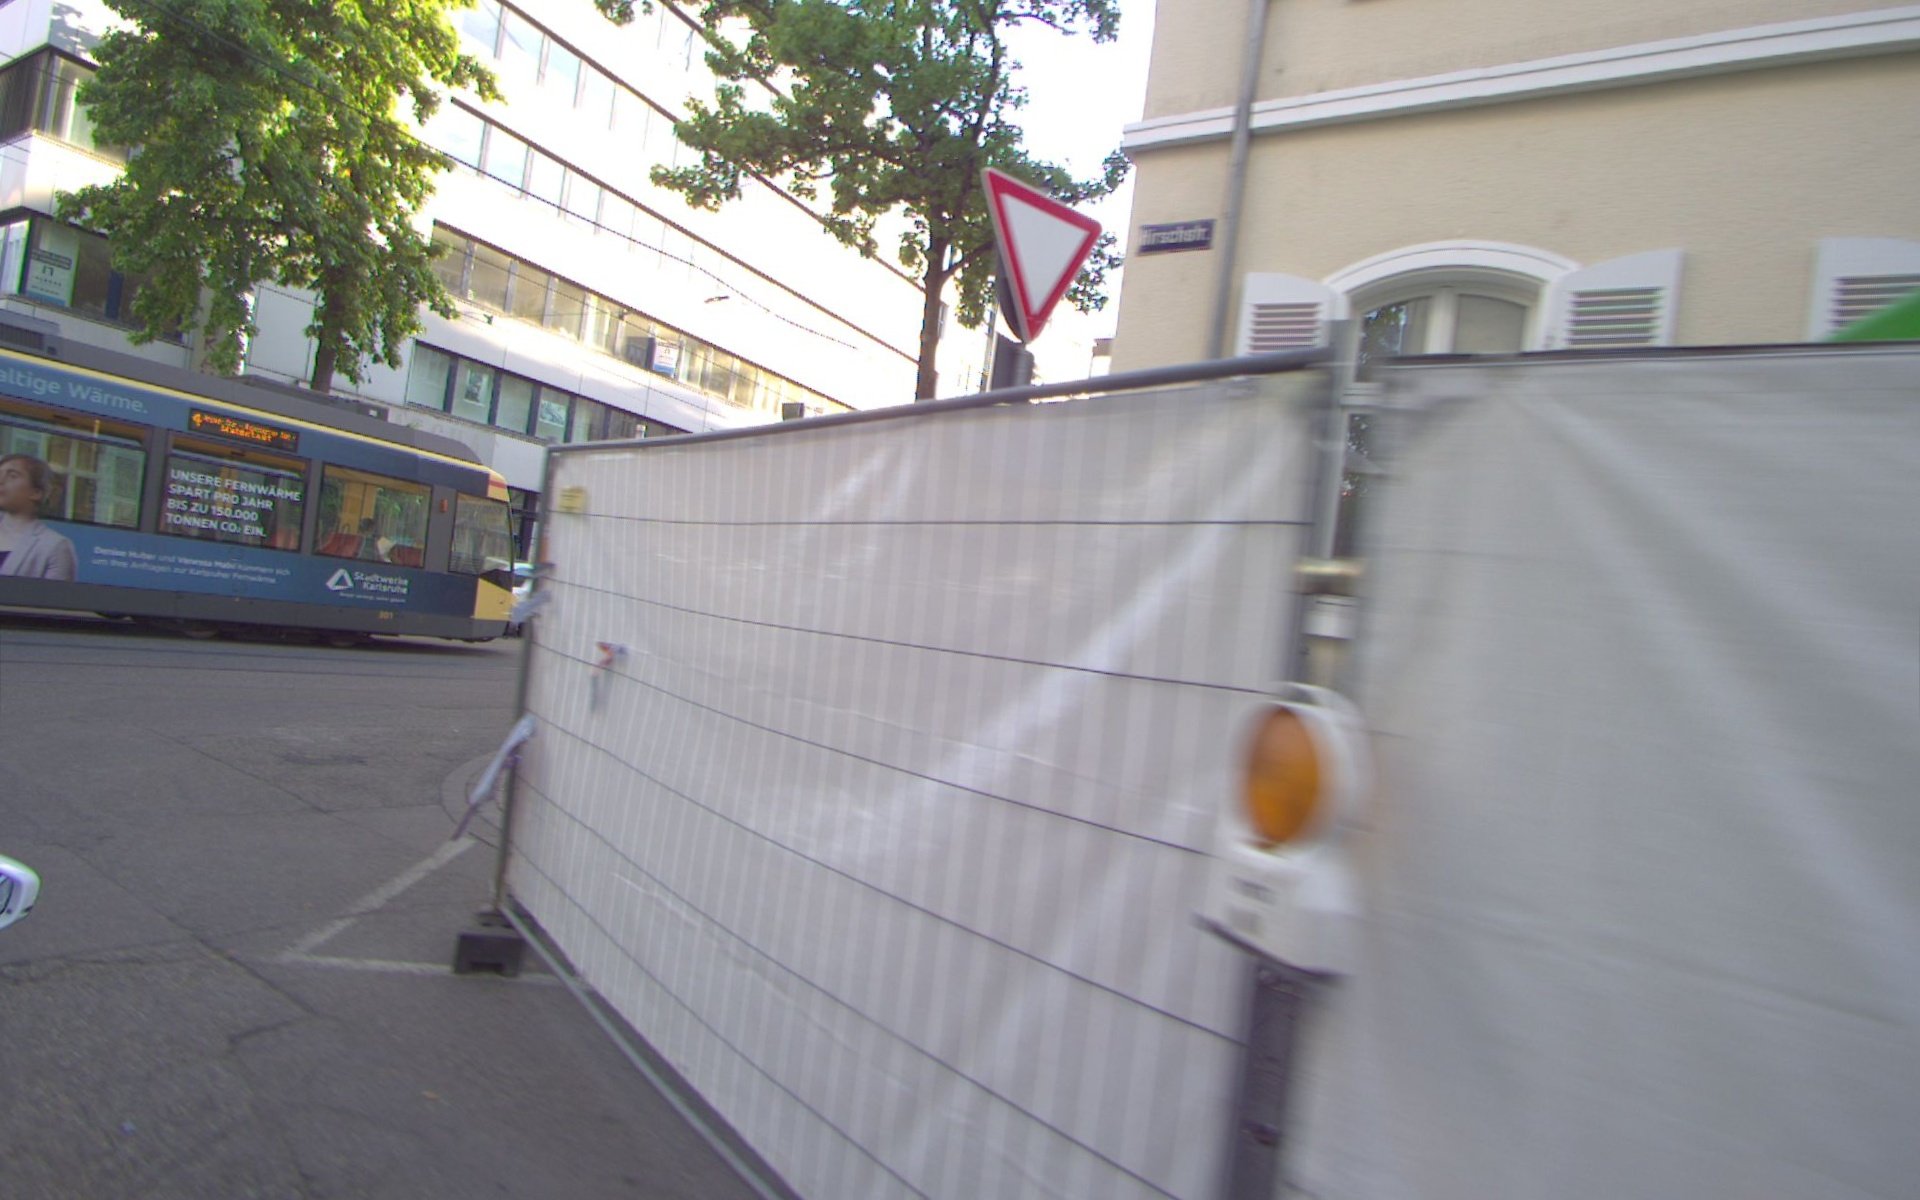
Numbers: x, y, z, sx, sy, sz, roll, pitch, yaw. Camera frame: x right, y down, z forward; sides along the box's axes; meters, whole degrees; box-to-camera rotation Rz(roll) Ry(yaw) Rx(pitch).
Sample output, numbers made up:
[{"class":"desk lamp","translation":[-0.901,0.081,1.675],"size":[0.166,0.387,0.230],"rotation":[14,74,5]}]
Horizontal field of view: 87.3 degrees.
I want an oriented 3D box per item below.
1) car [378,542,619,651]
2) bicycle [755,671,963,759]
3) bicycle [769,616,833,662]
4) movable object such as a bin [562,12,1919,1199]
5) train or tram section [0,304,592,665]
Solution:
[{"class":"car","translation":[-10.675,-0.005,23.635],"size":[1.967,1.791,4.663],"rotation":[10,-1,33]},{"class":"bicycle","translation":[-1.193,1.352,12.044],"size":[2.040,0.714,1.331],"rotation":[6,-2,25]},{"class":"bicycle","translation":[-5.367,1.303,33.927],"size":[2.133,1.173,0.758],"rotation":[10,2,38]},{"class":"movable object such as a bin","translation":[1.877,0.483,3.082],"size":[5.469,2.907,2.641],"rotation":[7,0,29]},{"class":"train or tram section","translation":[-10.406,-1.290,13.581],"size":[2.976,3.564,10.356],"rotation":[7,-2,31]}]
